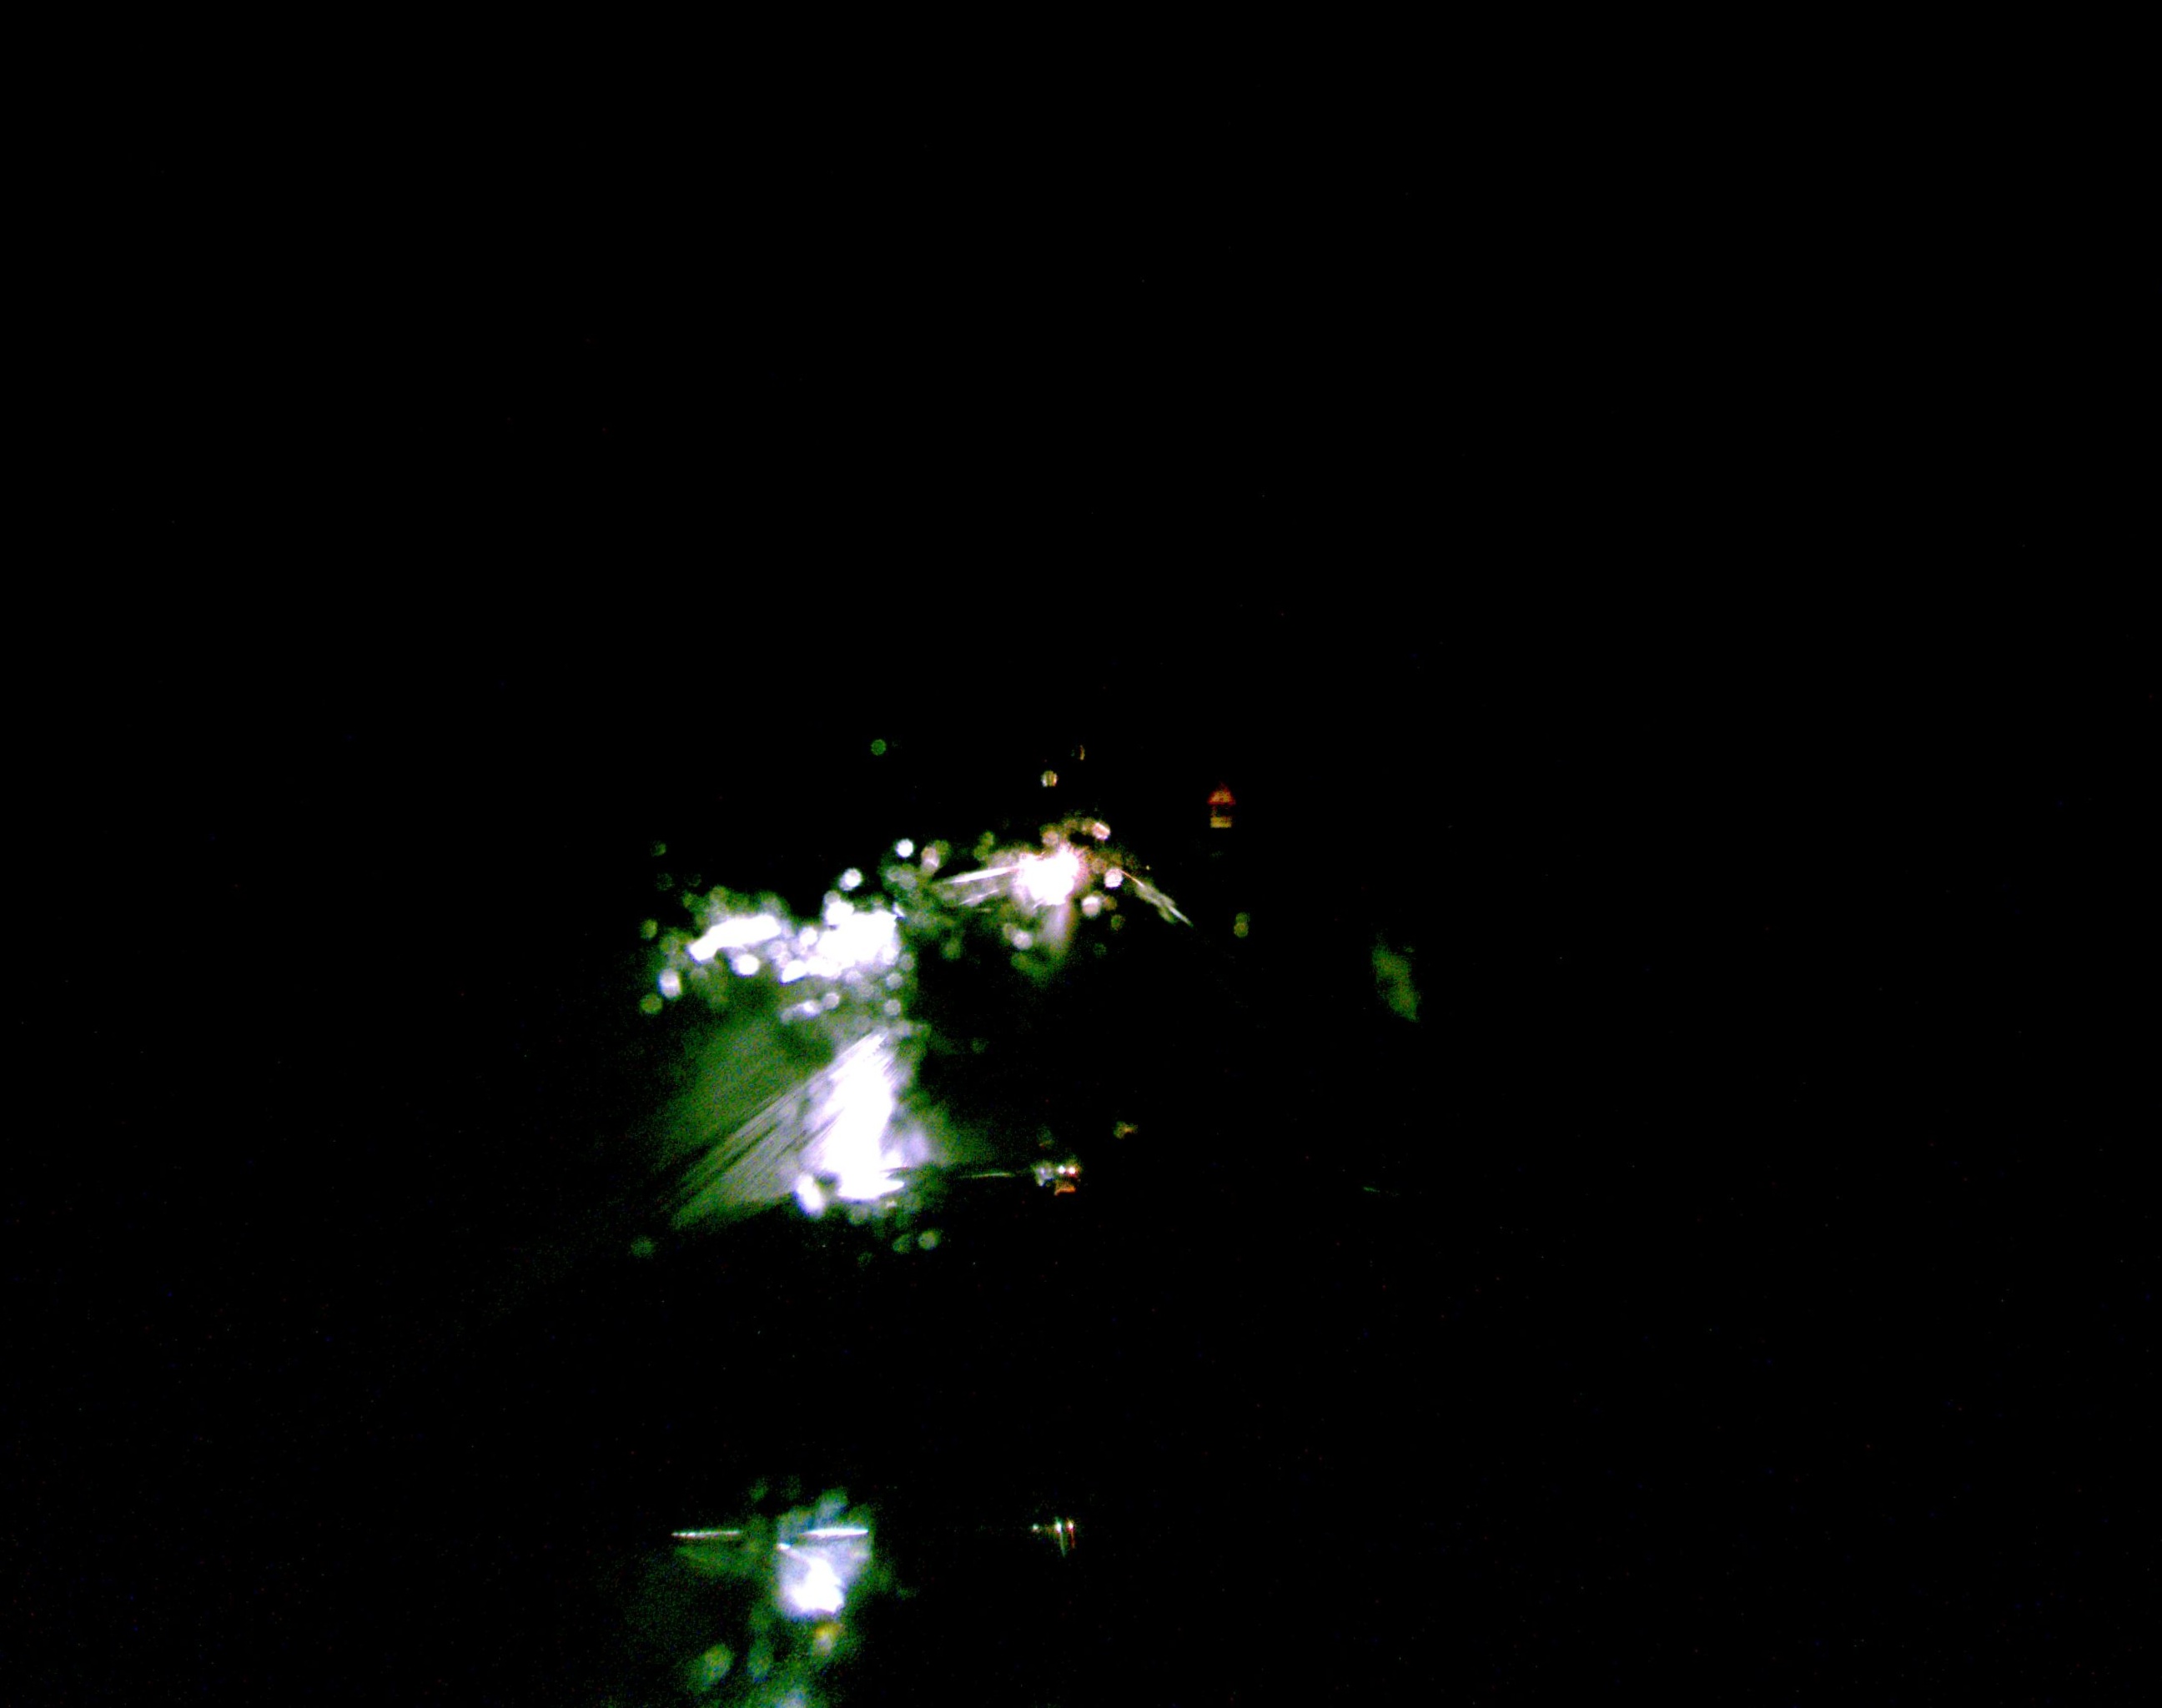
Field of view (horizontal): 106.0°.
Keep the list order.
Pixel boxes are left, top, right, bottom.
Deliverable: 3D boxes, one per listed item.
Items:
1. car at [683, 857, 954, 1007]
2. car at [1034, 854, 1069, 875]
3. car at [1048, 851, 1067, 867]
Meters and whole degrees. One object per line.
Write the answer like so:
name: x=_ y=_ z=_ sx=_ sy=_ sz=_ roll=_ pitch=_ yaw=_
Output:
car: x=-3.095 y=0.826 z=10.718 sx=1.985 sy=1.497 sz=4.359 roll=0 pitch=1 yaw=2
car: x=-2.044 y=0.746 z=57.901 sx=1.966 sy=1.462 sz=4.288 roll=0 pitch=-1 yaw=6
car: x=-2.375 y=0.494 z=83.029 sx=1.850 sy=1.521 sz=4.679 roll=-1 pitch=0 yaw=-1
